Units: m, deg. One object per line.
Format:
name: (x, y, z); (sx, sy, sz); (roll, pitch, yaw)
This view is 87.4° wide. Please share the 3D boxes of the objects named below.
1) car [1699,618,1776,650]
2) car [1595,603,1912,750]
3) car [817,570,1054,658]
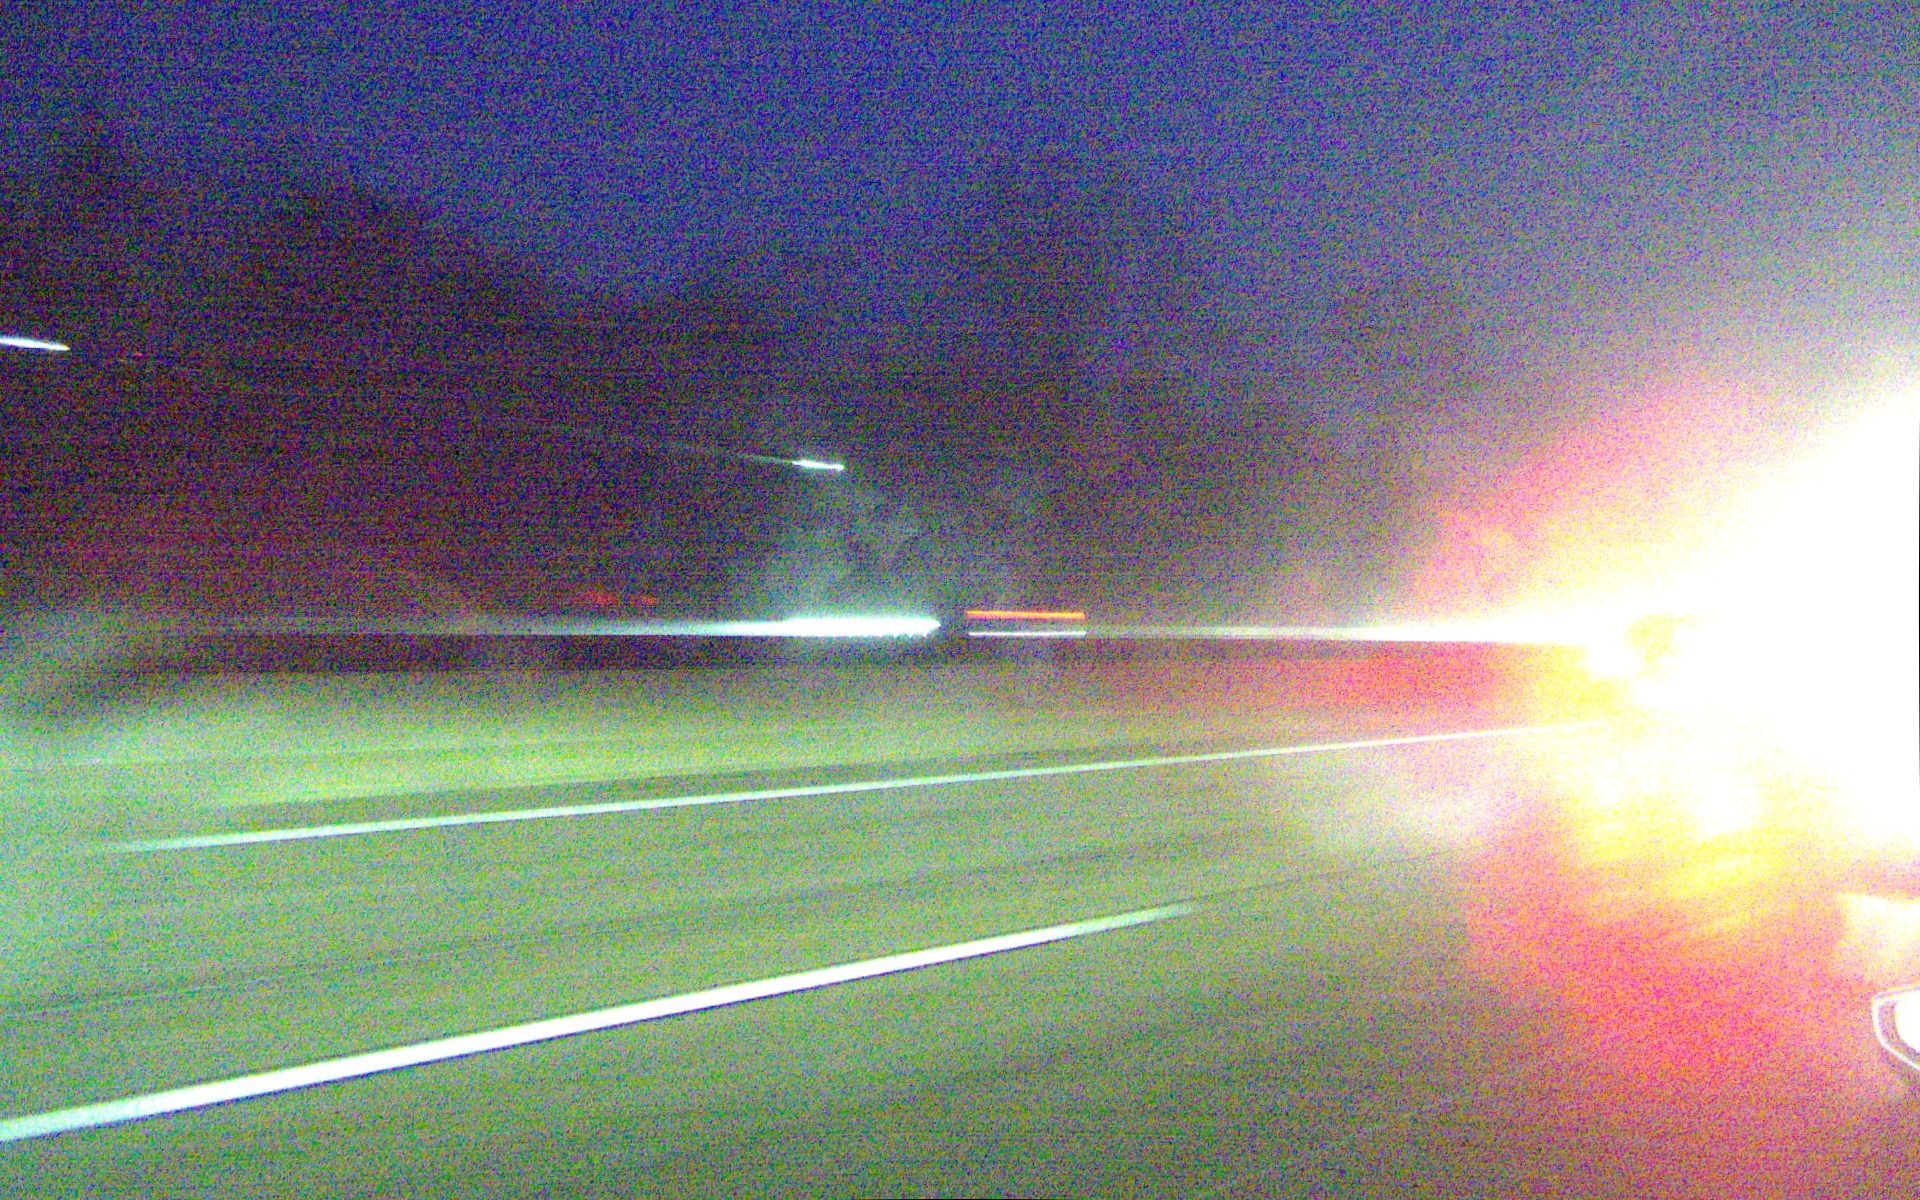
car: (33.436, 1.458, 43.185); (4.029, 1.283, 1.396); (2, 0, -34)
car: (10.789, 0.949, 13.571); (4.699, 1.561, 1.847); (2, 3, -33)
car: (-0.466, 0.311, 20.872); (4.648, 1.654, 1.763); (2, 0, -31)
